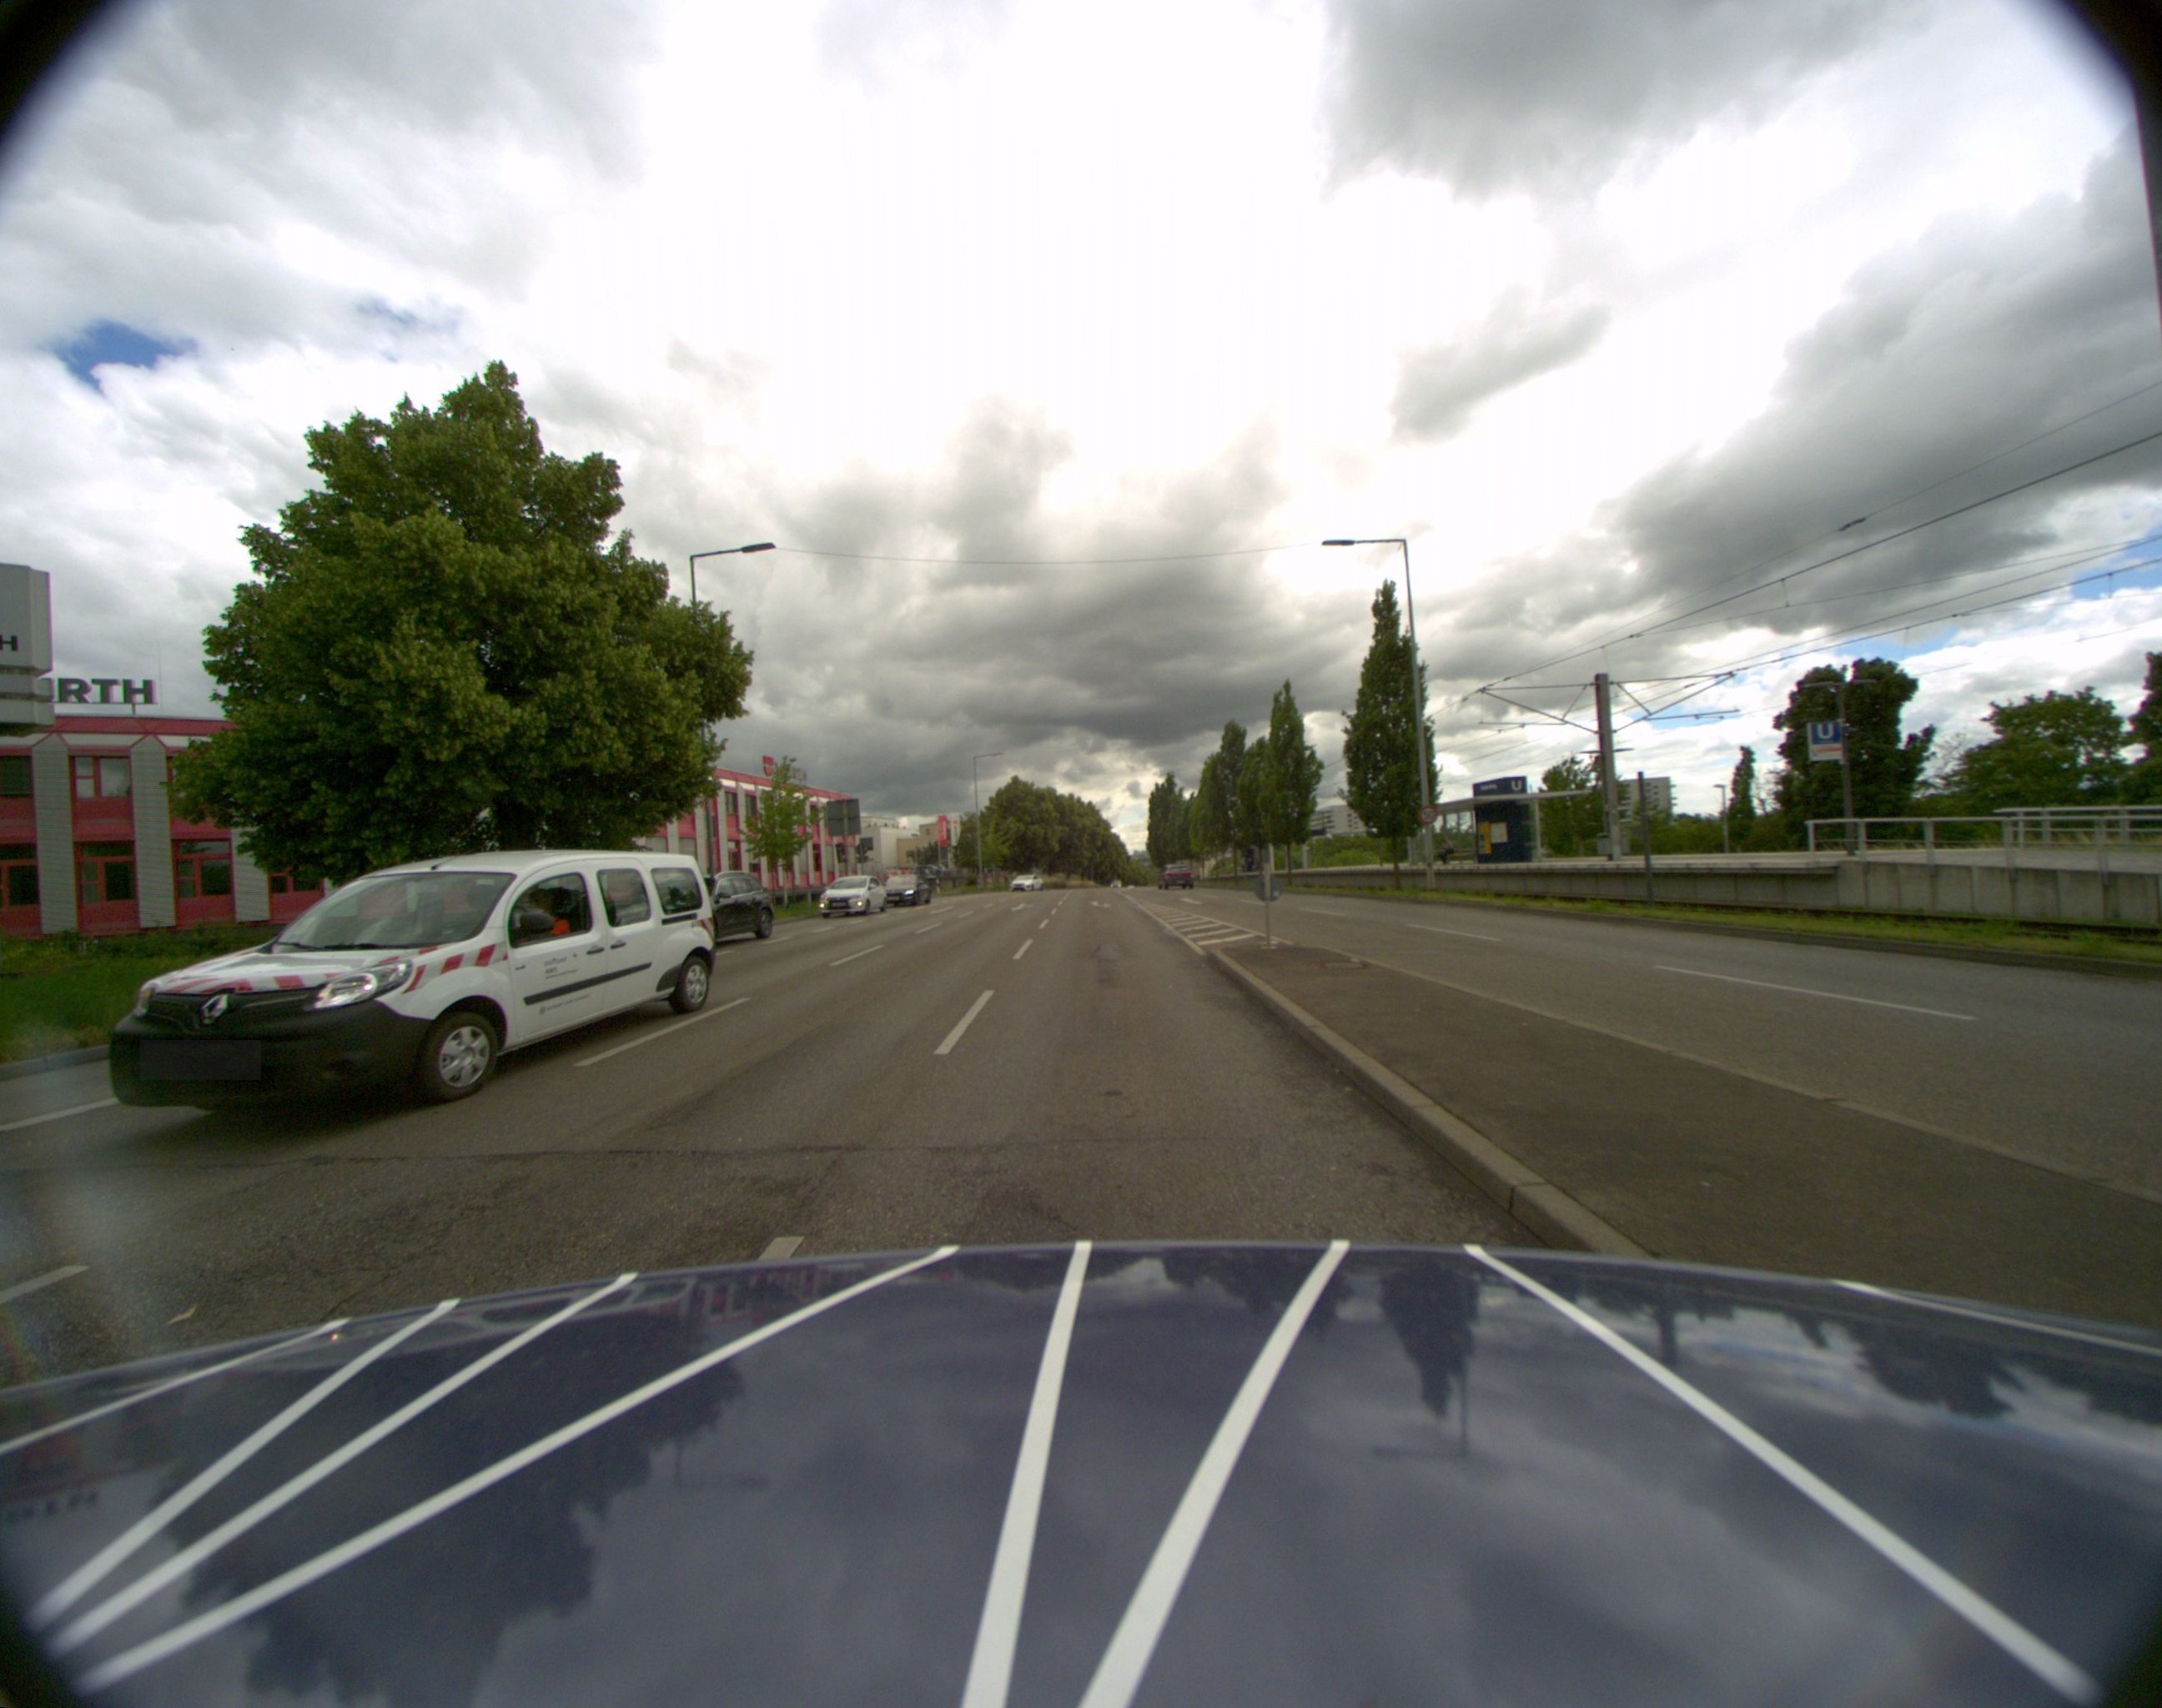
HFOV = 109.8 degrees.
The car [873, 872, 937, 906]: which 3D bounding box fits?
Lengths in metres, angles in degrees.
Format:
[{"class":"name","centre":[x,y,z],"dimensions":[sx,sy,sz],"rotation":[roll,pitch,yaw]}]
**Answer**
[{"class":"car","centre":[-8.018,1.580,35.037],"dimensions":[1.785,1.437,4.530],"rotation":[-1,-2,1]}]

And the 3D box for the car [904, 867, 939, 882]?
[{"class":"car","centre":[-21.205,2.693,101.007],"dimensions":[4.248,1.744,1.784],"rotation":[-2,0,2]}]

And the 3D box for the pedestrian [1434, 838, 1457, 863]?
[{"class":"pedestrian","centre":[17.628,-0.173,36.732],"dimensions":[0.663,1.195,0.782],"rotation":[-2,0,-7]}]

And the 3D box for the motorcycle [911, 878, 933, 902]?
[{"class":"motorcycle","centre":[-8.295,1.865,39.653],"dimensions":[0.750,1.140,1.943],"rotation":[-4,-1,-3]}]

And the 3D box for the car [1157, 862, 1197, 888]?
[{"class":"car","centre":[6.203,1.326,49.392],"dimensions":[1.783,1.537,4.223],"rotation":[-2,0,-4]}]

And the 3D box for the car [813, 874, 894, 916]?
[{"class":"car","centre":[-8.502,1.513,28.753],"dimensions":[1.785,1.434,3.836],"rotation":[-1,-2,1]}]

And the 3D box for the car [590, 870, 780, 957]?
[{"class":"car","centre":[-8.510,1.219,16.851],"dimensions":[1.785,1.639,4.427],"rotation":[-1,-2,1]}]

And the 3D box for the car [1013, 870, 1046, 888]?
[{"class":"car","centre":[-4.210,2.116,62.828],"dimensions":[1.784,1.353,4.484],"rotation":[-2,-3,8]}]

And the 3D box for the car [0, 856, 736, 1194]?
[{"class":"car","centre":[-5.254,0.984,6.699],"dimensions":[1.999,1.791,4.839],"rotation":[-2,1,2]}]

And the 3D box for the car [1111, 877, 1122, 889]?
[{"class":"car","centre":[5.971,4.914,129.193],"dimensions":[1.782,1.744,4.252],"rotation":[-2,0,2]}]

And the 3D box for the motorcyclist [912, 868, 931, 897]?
[{"class":"motorcyclist","centre":[-8.322,1.488,39.655],"dimensions":[0.750,1.481,0.933],"rotation":[-4,-1,-3]}]
